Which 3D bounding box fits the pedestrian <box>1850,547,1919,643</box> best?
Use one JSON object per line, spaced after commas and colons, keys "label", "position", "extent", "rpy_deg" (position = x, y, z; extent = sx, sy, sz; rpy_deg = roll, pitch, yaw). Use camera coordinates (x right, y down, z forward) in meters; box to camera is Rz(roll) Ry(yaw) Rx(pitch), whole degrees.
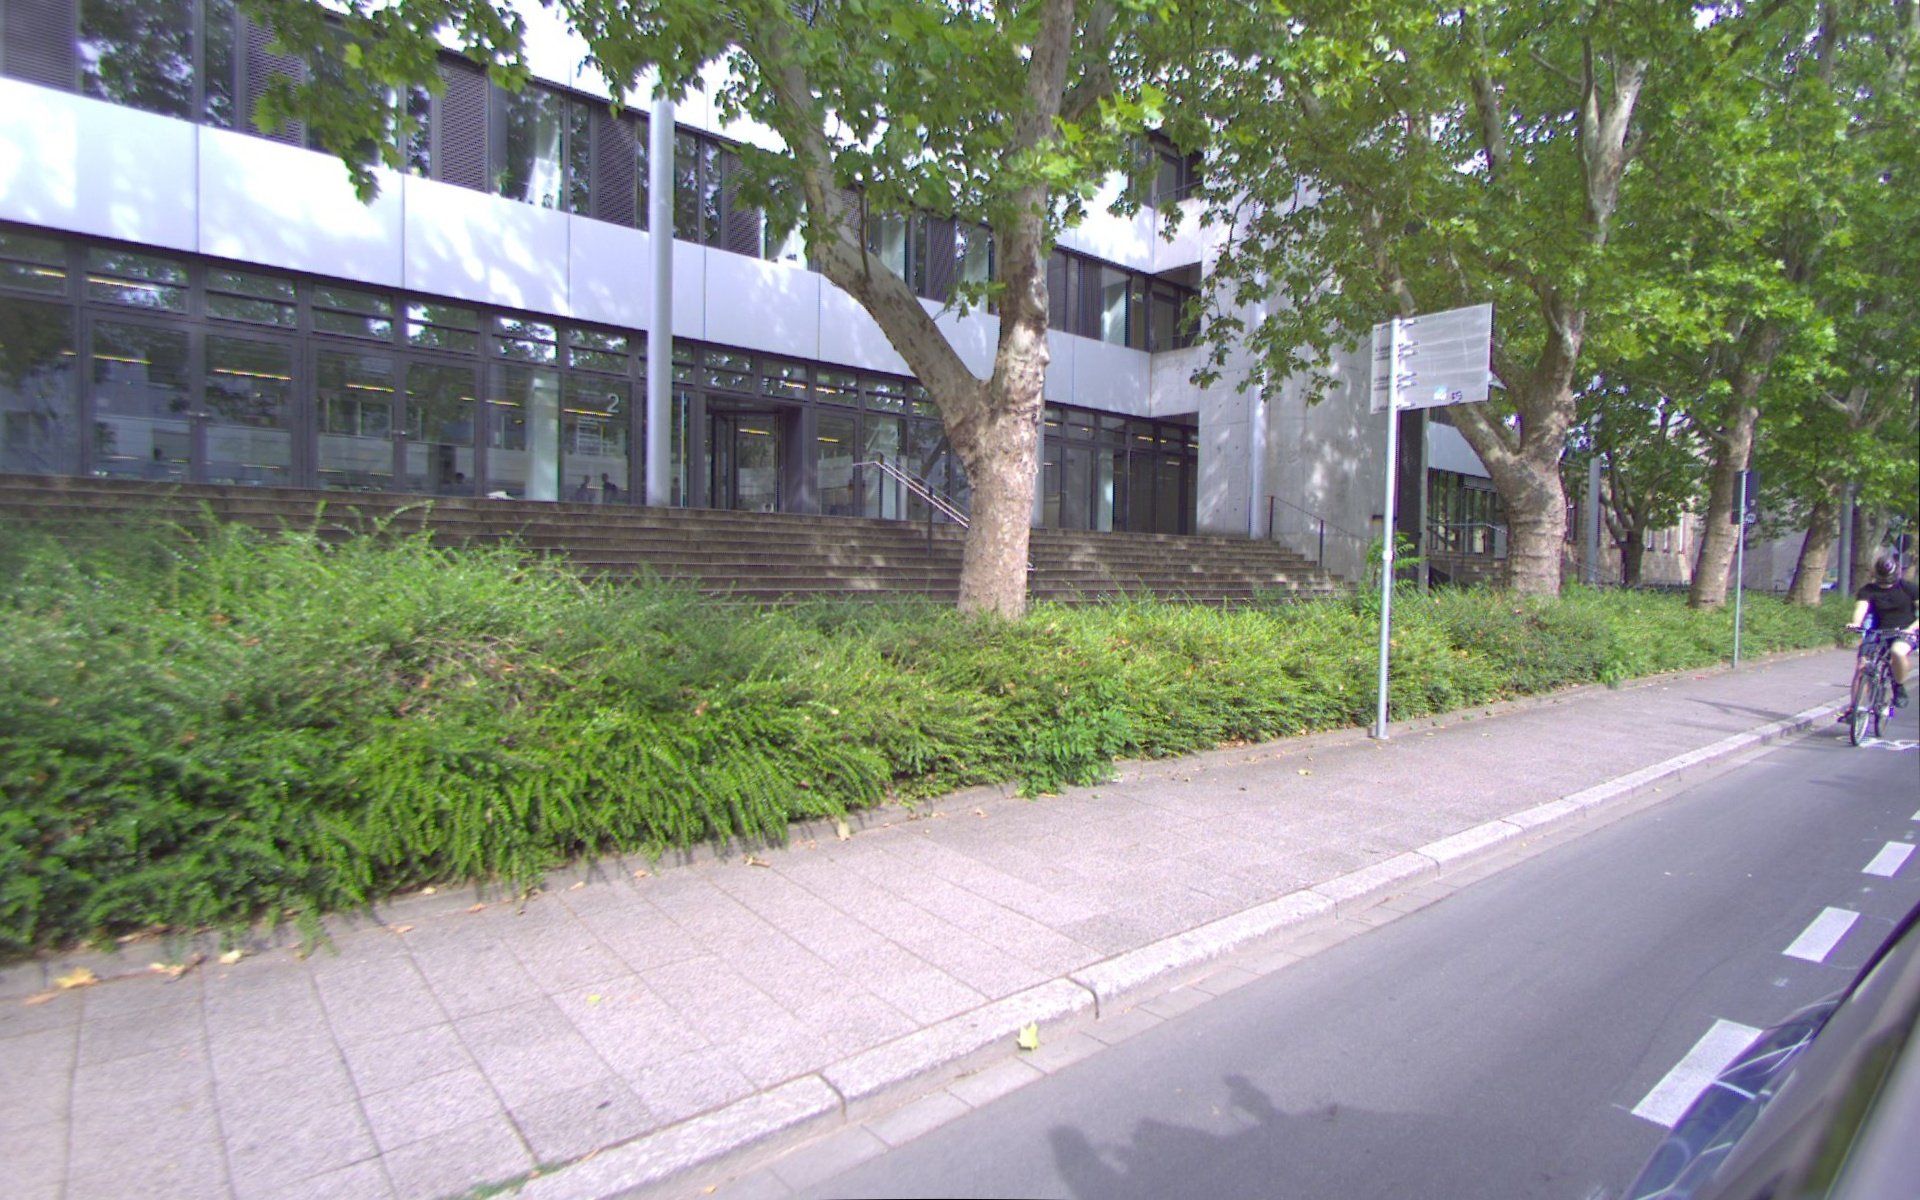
{"label": "pedestrian", "position": [20.295, -0.117, 22.208], "extent": [0.980, 2.039, 1.003], "rpy_deg": [0, 0, -40]}

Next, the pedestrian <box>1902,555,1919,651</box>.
{"label": "pedestrian", "position": [20.814, 0.060, 21.519], "extent": [0.979, 2.039, 1.003], "rpy_deg": [0, 0, -38]}

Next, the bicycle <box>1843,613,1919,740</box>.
{"label": "bicycle", "position": [9.400, 0.717, 10.118], "extent": [0.769, 1.145, 1.975], "rpy_deg": [-1, -1, 39]}

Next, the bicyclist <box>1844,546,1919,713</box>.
{"label": "bicyclist", "position": [9.400, 0.285, 10.129], "extent": [0.769, 1.603, 0.790], "rpy_deg": [-1, -1, 39]}
